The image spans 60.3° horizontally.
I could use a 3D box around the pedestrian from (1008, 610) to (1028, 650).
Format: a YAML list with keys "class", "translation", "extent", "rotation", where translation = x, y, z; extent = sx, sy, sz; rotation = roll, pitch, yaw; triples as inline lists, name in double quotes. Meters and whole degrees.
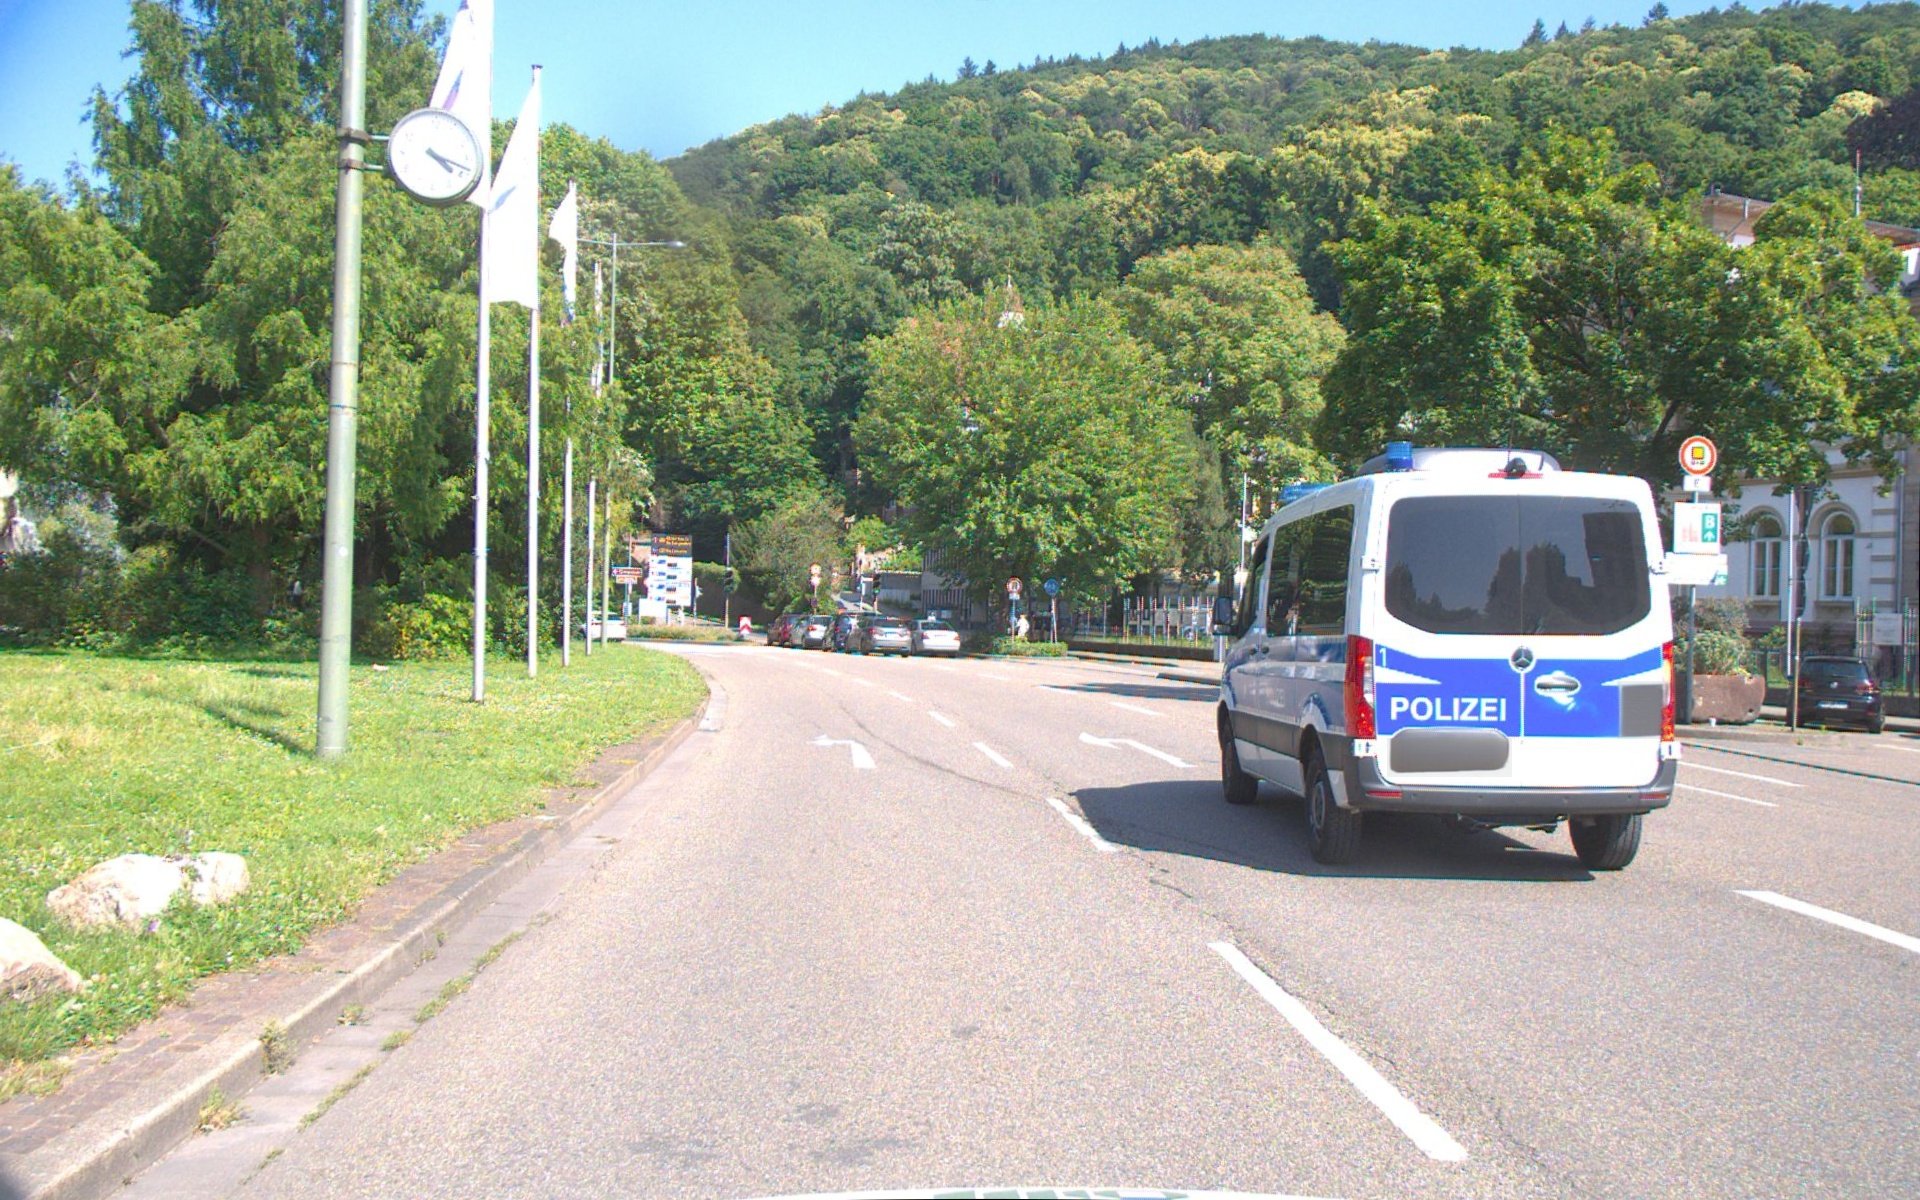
- class: "pedestrian"
  translation: [2.852, 1.470, 80.985]
  extent: [0.758, 1.887, 0.826]
  rotation: [2, -1, -13]

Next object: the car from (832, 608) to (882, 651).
- class: "car"
  translation: [-4.979, 1.412, 79.598]
  extent: [1.726, 1.972, 3.481]
  rotation: [2, -1, -14]

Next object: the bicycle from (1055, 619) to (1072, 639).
- class: "bicycle"
  translation: [6.073, 1.692, 97.144]
  extent: [0.528, 1.104, 1.829]
  rotation: [1, 0, -12]

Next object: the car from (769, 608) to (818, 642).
- class: "car"
  translation: [-7.766, 1.136, 76.821]
  extent: [1.726, 1.487, 3.481]
  rotation: [2, -1, -14]

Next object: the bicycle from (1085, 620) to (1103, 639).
- class: "bicycle"
  translation: [7.908, 1.724, 97.466]
  extent: [0.528, 1.104, 1.829]
  rotation: [1, 0, -12]

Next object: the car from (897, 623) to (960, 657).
- class: "car"
  translation: [-1.290, 1.565, 65.480]
  extent: [1.726, 1.234, 3.481]
  rotation: [2, -1, -14]

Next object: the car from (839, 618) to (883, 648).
- class: "car"
  translation: [-5.254, 1.717, 87.463]
  extent: [1.726, 1.487, 3.481]
  rotation: [2, -1, -14]

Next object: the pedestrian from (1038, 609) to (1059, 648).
- class: "pedestrian"
  translation: [4.357, 1.406, 81.480]
  extent: [0.758, 1.887, 0.826]
  rotation: [2, -1, -15]

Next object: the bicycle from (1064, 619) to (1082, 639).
- class: "bicycle"
  translation: [6.643, 1.703, 97.280]
  extent: [0.528, 1.104, 1.829]
  rotation: [1, 0, -12]

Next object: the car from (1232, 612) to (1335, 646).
- class: "car"
  translation: [13.952, 1.251, 71.306]
  extent: [3.975, 1.359, 1.852]
  rotation: [1, -1, -17]

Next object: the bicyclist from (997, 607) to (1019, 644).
- class: "bicyclist"
  translation: [2.606, 1.378, 90.462]
  extent: [1.103, 1.966, 0.748]
  rotation: [2, -1, -2]

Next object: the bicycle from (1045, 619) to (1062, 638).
- class: "bicycle"
  translation: [5.455, 1.681, 97.013]
  extent: [0.528, 1.104, 1.829]
  rotation: [1, 0, -12]

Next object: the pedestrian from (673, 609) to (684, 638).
- class: "pedestrian"
  translation: [-15.822, 1.310, 93.045]
  extent: [0.536, 1.649, 0.633]
  rotation: [1, 0, -5]

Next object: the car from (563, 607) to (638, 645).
- class: "car"
  translation: [-15.137, 1.087, 69.538]
  extent: [1.828, 1.486, 3.449]
  rotation: [2, -1, -36]

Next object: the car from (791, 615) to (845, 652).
- class: "car"
  translation: [-6.164, 1.418, 71.429]
  extent: [1.726, 1.487, 3.632]
  rotation: [2, -1, -14]

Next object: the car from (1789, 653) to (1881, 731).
- class: "car"
  translation: [18.247, 1.867, 34.436]
  extent: [1.571, 1.442, 3.813]
  rotation: [1, -1, 29]

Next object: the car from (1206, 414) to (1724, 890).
- class: "car"
  translation: [3.152, 0.327, 11.558]
  extent: [2.031, 2.552, 4.928]
  rotation: [2, -1, -1]

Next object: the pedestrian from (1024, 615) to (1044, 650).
- class: "pedestrian"
  translation: [3.631, 1.614, 81.383]
  extent: [0.757, 1.692, 0.827]
  rotation: [2, -1, -13]

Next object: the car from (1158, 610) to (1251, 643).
- class: "car"
  translation: [11.911, 1.287, 80.541]
  extent: [4.080, 1.501, 1.868]
  rotation: [1, -1, -19]

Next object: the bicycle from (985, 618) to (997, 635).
- class: "bicycle"
  translation: [1.886, 1.627, 101.507]
  extent: [0.398, 1.030, 1.336]
  rotation: [1, 0, -13]

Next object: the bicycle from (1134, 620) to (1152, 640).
- class: "bicycle"
  translation: [10.856, 1.776, 98.044]
  extent: [0.528, 1.104, 1.829]
  rotation: [1, 0, -12]

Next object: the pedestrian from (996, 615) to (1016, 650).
- class: "pedestrian"
  translation: [2.278, 1.594, 81.840]
  extent: [0.758, 1.692, 0.826]
  rotation: [2, -1, -13]

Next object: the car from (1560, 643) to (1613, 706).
- class: "car"
  translation: [15.838, 1.866, 41.879]
  extent: [1.173, 1.508, 2.289]
  rotation: [2, -1, 20]

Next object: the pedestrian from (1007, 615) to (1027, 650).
- class: "pedestrian"
  translation: [2.847, 1.616, 82.774]
  extent: [0.757, 1.692, 0.827]
  rotation: [2, -1, -13]

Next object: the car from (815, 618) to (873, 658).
- class: "car"
  translation: [-4.700, 1.515, 66.880]
  extent: [1.726, 1.487, 3.481]
  rotation: [2, -1, -14]

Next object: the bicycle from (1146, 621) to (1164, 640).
- class: "bicycle"
  translation: [11.540, 1.786, 98.009]
  extent: [0.528, 1.104, 1.829]
  rotation: [1, 0, -12]

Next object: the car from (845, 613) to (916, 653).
- class: "car"
  translation: [-2.960, 1.208, 60.942]
  extent: [1.728, 1.357, 3.784]
  rotation: [2, -1, -17]

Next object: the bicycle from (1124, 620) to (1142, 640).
- class: "bicycle"
  translation: [10.239, 1.765, 97.893]
  extent: [0.528, 1.104, 1.829]
  rotation: [1, 0, -12]

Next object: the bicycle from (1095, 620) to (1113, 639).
- class: "bicycle"
  translation: [8.476, 1.735, 97.618]
  extent: [0.528, 1.104, 1.829]
  rotation: [1, 0, -12]

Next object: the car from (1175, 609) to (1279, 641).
- class: "car"
  translation: [12.205, 1.125, 75.691]
  extent: [4.394, 1.359, 1.813]
  rotation: [1, -1, -17]

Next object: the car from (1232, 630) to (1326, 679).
- class: "car"
  translation: [10.511, 1.778, 54.230]
  extent: [1.788, 1.487, 4.099]
  rotation: [2, -1, 29]
